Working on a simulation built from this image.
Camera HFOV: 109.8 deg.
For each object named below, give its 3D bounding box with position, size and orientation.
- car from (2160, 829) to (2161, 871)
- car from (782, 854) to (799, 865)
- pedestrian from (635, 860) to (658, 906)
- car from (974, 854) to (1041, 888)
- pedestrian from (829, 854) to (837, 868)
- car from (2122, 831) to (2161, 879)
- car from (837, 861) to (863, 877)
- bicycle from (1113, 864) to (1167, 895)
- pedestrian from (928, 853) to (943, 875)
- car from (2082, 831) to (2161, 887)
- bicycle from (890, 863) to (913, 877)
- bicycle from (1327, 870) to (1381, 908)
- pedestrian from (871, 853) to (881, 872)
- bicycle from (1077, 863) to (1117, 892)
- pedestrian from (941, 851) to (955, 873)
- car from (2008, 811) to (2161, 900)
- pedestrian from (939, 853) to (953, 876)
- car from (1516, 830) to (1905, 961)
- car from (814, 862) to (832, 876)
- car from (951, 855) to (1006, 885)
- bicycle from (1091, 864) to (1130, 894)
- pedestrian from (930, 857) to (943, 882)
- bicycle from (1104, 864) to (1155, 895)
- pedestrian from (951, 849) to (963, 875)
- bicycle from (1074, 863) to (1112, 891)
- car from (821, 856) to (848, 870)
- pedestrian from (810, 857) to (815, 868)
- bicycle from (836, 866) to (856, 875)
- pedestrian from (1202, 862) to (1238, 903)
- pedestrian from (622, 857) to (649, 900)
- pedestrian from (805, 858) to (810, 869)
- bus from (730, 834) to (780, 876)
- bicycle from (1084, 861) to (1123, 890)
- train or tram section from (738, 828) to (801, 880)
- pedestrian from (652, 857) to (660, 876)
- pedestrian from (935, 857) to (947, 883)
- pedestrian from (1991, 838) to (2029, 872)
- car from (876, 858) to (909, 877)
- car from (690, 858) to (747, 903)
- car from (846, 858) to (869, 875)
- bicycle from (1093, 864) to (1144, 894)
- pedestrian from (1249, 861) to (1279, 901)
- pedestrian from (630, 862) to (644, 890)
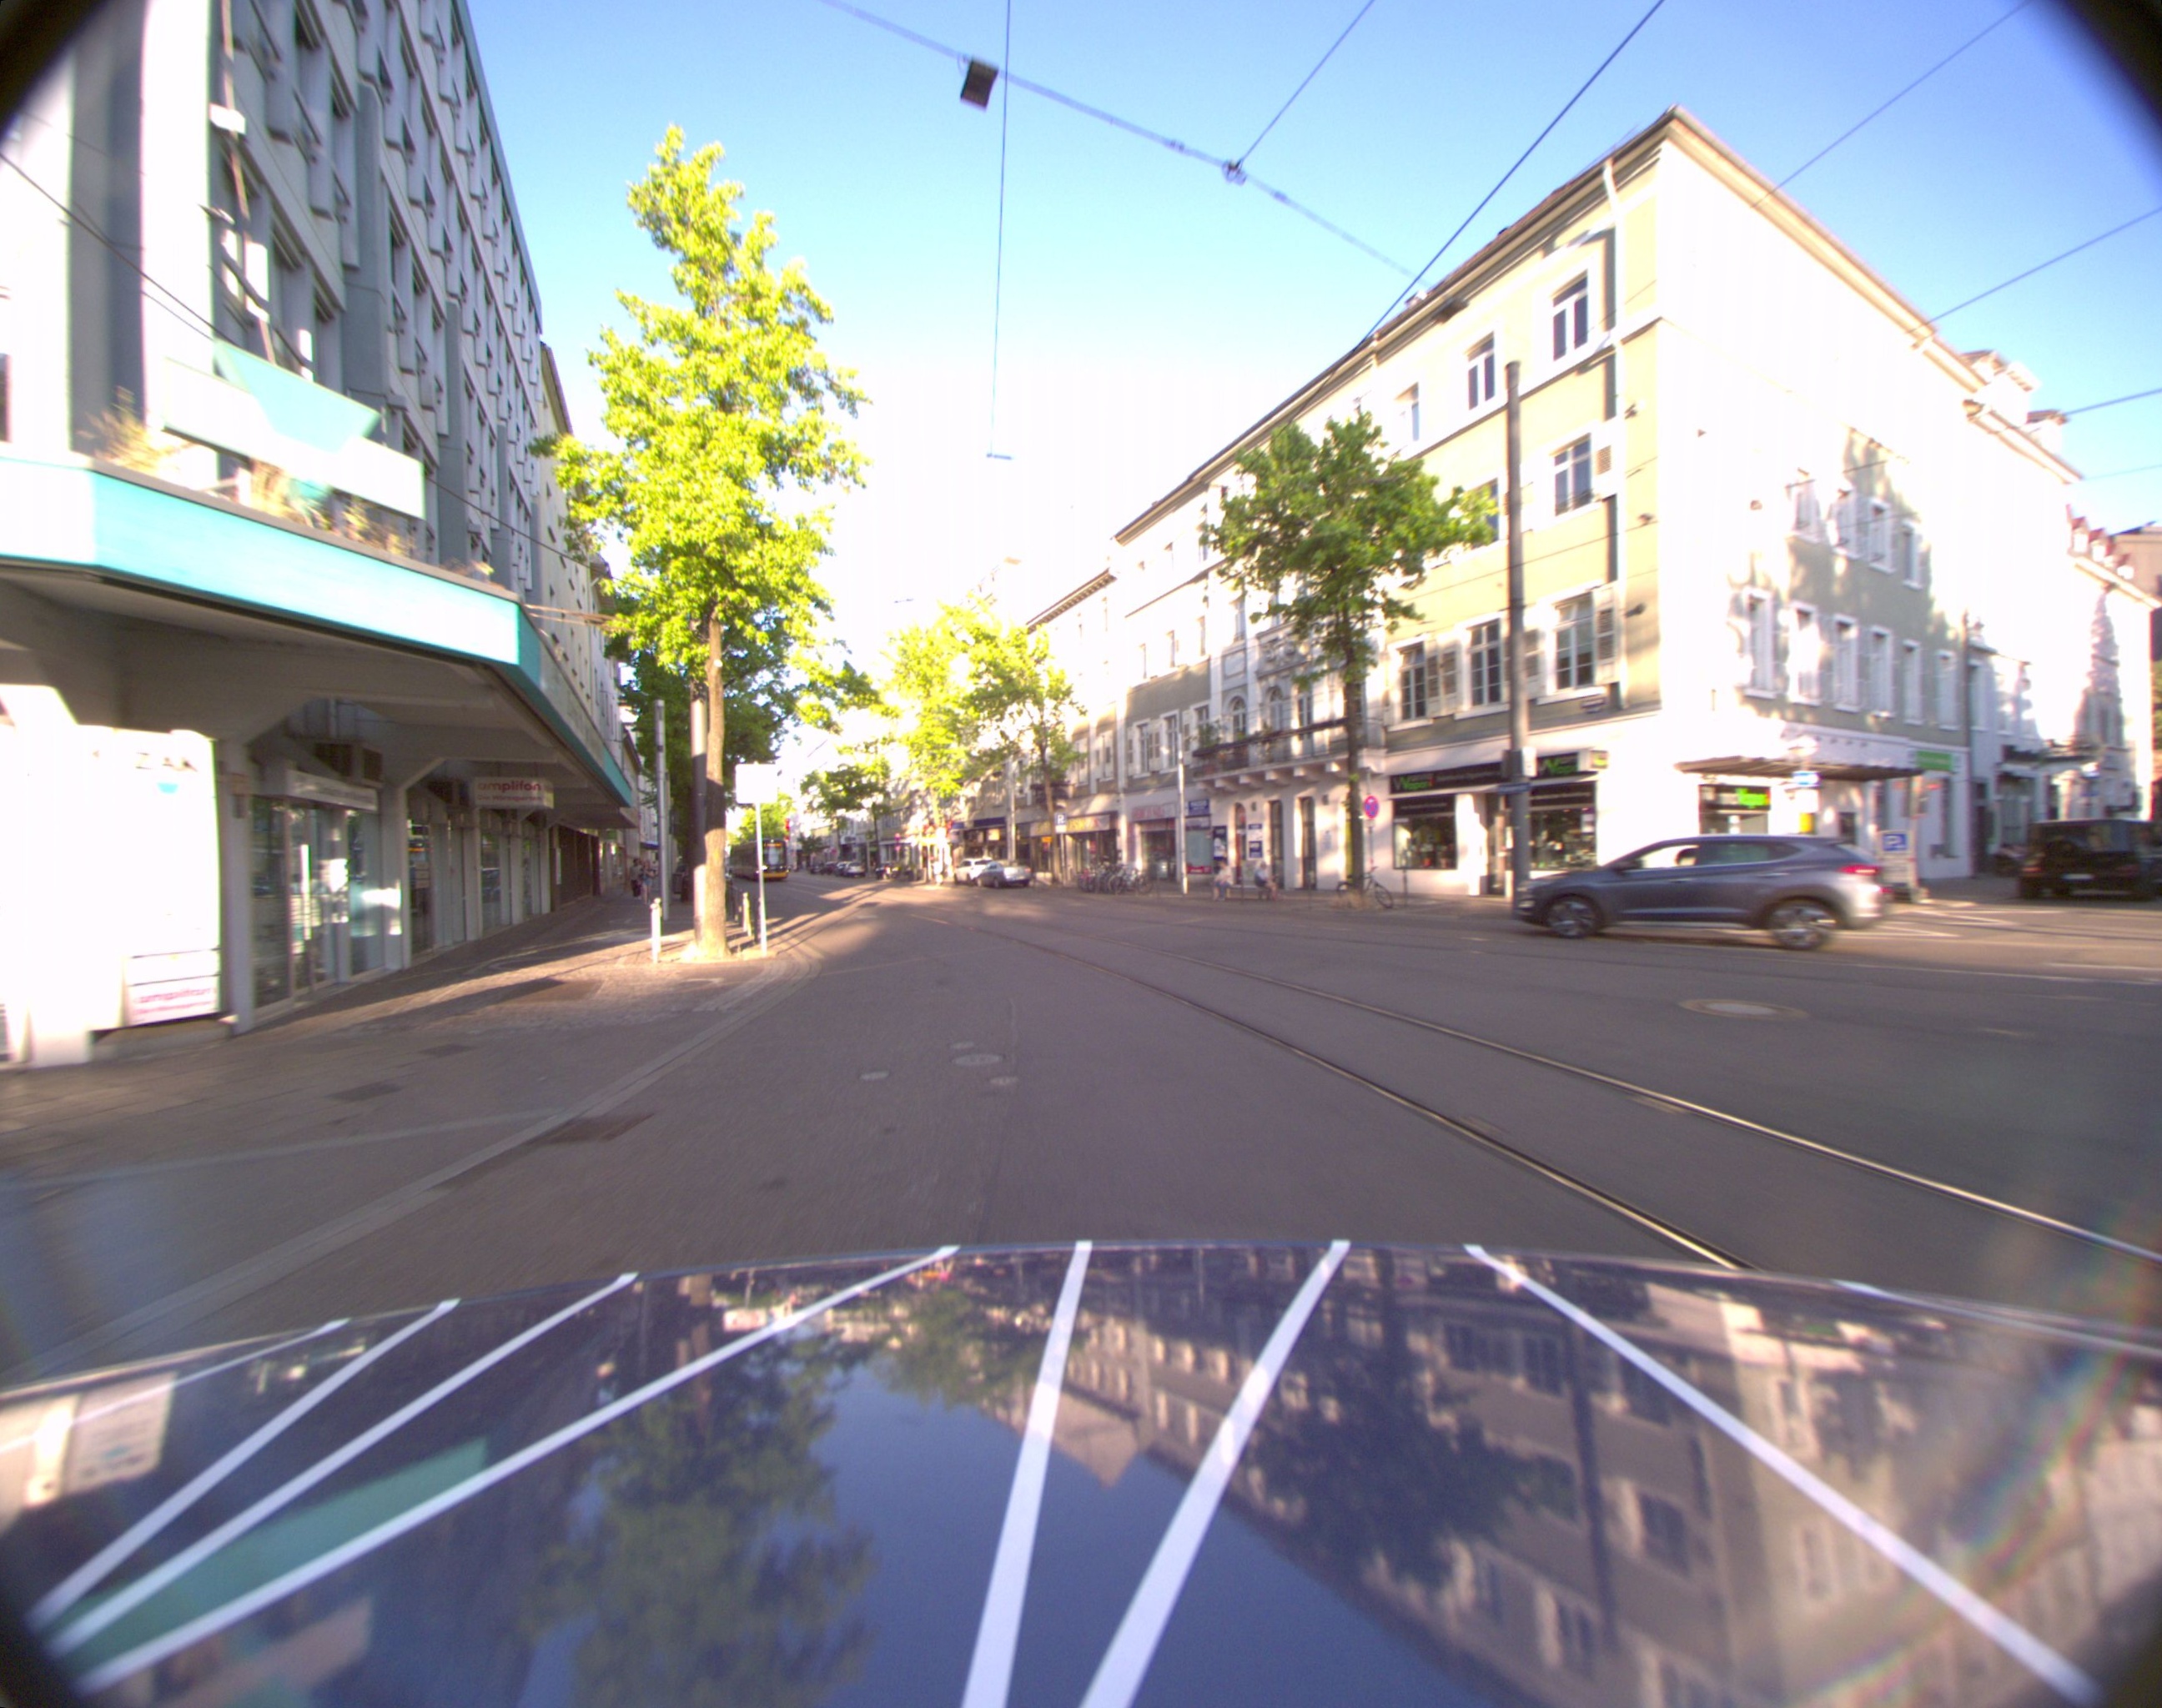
[{"bbox_3d":[40.881,-0.205,27.341,4.147,1.506,1.895,-2,0,-29],"label":"car"},{"bbox_3d":[-48.207,0.913,126.097,2.002,1.744,4.734,-4,1,-28],"label":"car"},{"bbox_3d":[-15.988,1.072,27.984,0.646,1.660,0.784,2,-1,-27],"label":"pedestrian"},{"bbox_3d":[-3.974,0.880,40.332,1.844,1.571,4.692,-6,2,-27],"label":"car"},{"bbox_3d":[-32.401,0.906,99.275,0.854,1.756,0.830,-2,0,-30],"label":"pedestrian"},{"bbox_3d":[36.178,-0.004,24.896,4.147,1.506,1.895,-2,0,-29],"label":"car"},{"bbox_3d":[-23.529,1.523,77.337,1.719,1.452,4.476,-3,1,-27],"label":"car"},{"bbox_3d":[2.323,0.984,29.751,2.027,1.098,0.501,-2,2,7],"label":"bicycle"},{"bbox_3d":[-11.147,0.783,58.182,0.848,1.683,0.739,-1,0,-28],"label":"pedestrian"},{"bbox_3d":[31.315,0.097,22.200,4.147,1.506,1.895,-2,0,-29],"label":"car"},{"bbox_3d":[-13.890,1.230,58.708,1.623,0.960,0.432,-3,1,-22],"label":"bicycle"},{"bbox_3d":[7.260,0.914,20.251,0.338,0.940,1.506,-1,0,-27],"label":"bicycle"},{"bbox_3d":[-20.863,0.868,77.358,0.662,1.815,0.877,-5,2,-27],"label":"pedestrian"},{"bbox_3d":[0.716,1.003,32.922,0.499,1.098,2.119,-1,2,38],"label":"bicycle"},{"bbox_3d":[-10.578,0.644,60.383,0.725,1.750,1.087,-2,0,-27],"label":"pedestrian"},{"bbox_3d":[25.544,-0.009,19.157,4.641,2.002,1.922,-2,0,-29],"label":"car"},{"bbox_3d":[-10.447,0.810,58.797,0.792,1.683,0.911,-1,0,-28],"label":"pedestrian"},{"bbox_3d":[9.494,0.578,11.857,4.347,1.666,1.974,-2,0,41],"label":"car"},{"bbox_3d":[-31.726,1.827,93.421,1.636,1.607,3.704,-3,0,-13],"label":"car"},{"bbox_3d":[-6.129,0.921,44.990,1.844,1.571,4.107,-6,2,-27],"label":"car"},{"bbox_3d":[1.272,1.024,31.833,0.499,1.098,2.034,-1,2,38],"label":"bicycle"},{"bbox_3d":[-8.986,0.973,47.217,0.623,1.500,0.728,-1,1,-27],"label":"pedestrian"},{"bbox_3d":[1.965,1.000,30.545,2.032,1.098,0.500,-3,2,-25],"label":"bicycle"},{"bbox_3d":[-9.869,0.629,60.662,0.725,2.002,0.641,-2,1,-27],"label":"pedestrian"},{"bbox_3d":[0.555,1.003,33.733,0.566,1.098,1.955,-1,2,38],"label":"bicycle"},{"bbox_3d":[-27.921,1.055,86.074,1.800,1.482,4.232,-3,1,-33],"label":"car"},{"bbox_3d":[-43.446,1.379,122.845,0.630,1.703,0.806,-3,1,-24],"label":"pedestrian"},{"bbox_3d":[-25.497,1.779,82.453,1.979,0.995,0.330,-2,0,-25],"label":"bicycle"},{"bbox_3d":[4.543,0.929,24.804,0.731,1.283,0.855,-3,1,-30],"label":"pedestrian"},{"bbox_3d":[-18.565,1.032,31.672,0.862,1.742,0.930,2,-1,-27],"label":"pedestrian"},{"bbox_3d":[-44.177,1.487,122.653,0.644,1.703,0.827,-3,1,-24],"label":"pedestrian"},{"bbox_3d":[-34.771,0.254,80.495,3.624,3.974,17.446,-1,0,-27],"label":"bus"},{"bbox_3d":[0.986,0.906,32.359,0.499,1.098,2.034,-1,2,38],"label":"bicycle"},{"bbox_3d":[-27.249,0.136,65.791,3.615,3.974,15.682,-1,0,-27],"label":"train or tram section"},{"bbox_3d":[-42.855,1.250,76.647,0.716,1.875,1.050,0,0,-27],"label":"pedestrian"},{"bbox_3d":[-8.599,0.997,46.556,0.523,1.560,0.632,-1,1,-27],"label":"pedestrian"},{"bbox_3d":[33.468,0.038,27.378,0.773,1.197,0.706,-1,0,-28],"label":"pedestrian"},{"bbox_3d":[-15.476,1.109,62.330,1.673,1.420,3.819,-5,1,-28],"label":"car"},{"bbox_3d":[-15.576,1.123,32.527,1.948,1.748,4.669,2,-2,-27],"label":"car"},{"bbox_3d":[-21.007,1.182,71.338,1.774,1.488,4.167,-2,1,-20],"label":"car"},{"bbox_3d":[1.552,1.014,30.990,2.032,1.098,0.500,-3,2,-25],"label":"bicycle"},{"bbox_3d":[5.671,0.831,23.546,0.594,1.187,0.640,-3,1,-30],"label":"pedestrian"},{"bbox_3d":[-26.471,1.294,45.307,0.661,1.655,0.886,1,-1,-28],"label":"pedestrian"}]
